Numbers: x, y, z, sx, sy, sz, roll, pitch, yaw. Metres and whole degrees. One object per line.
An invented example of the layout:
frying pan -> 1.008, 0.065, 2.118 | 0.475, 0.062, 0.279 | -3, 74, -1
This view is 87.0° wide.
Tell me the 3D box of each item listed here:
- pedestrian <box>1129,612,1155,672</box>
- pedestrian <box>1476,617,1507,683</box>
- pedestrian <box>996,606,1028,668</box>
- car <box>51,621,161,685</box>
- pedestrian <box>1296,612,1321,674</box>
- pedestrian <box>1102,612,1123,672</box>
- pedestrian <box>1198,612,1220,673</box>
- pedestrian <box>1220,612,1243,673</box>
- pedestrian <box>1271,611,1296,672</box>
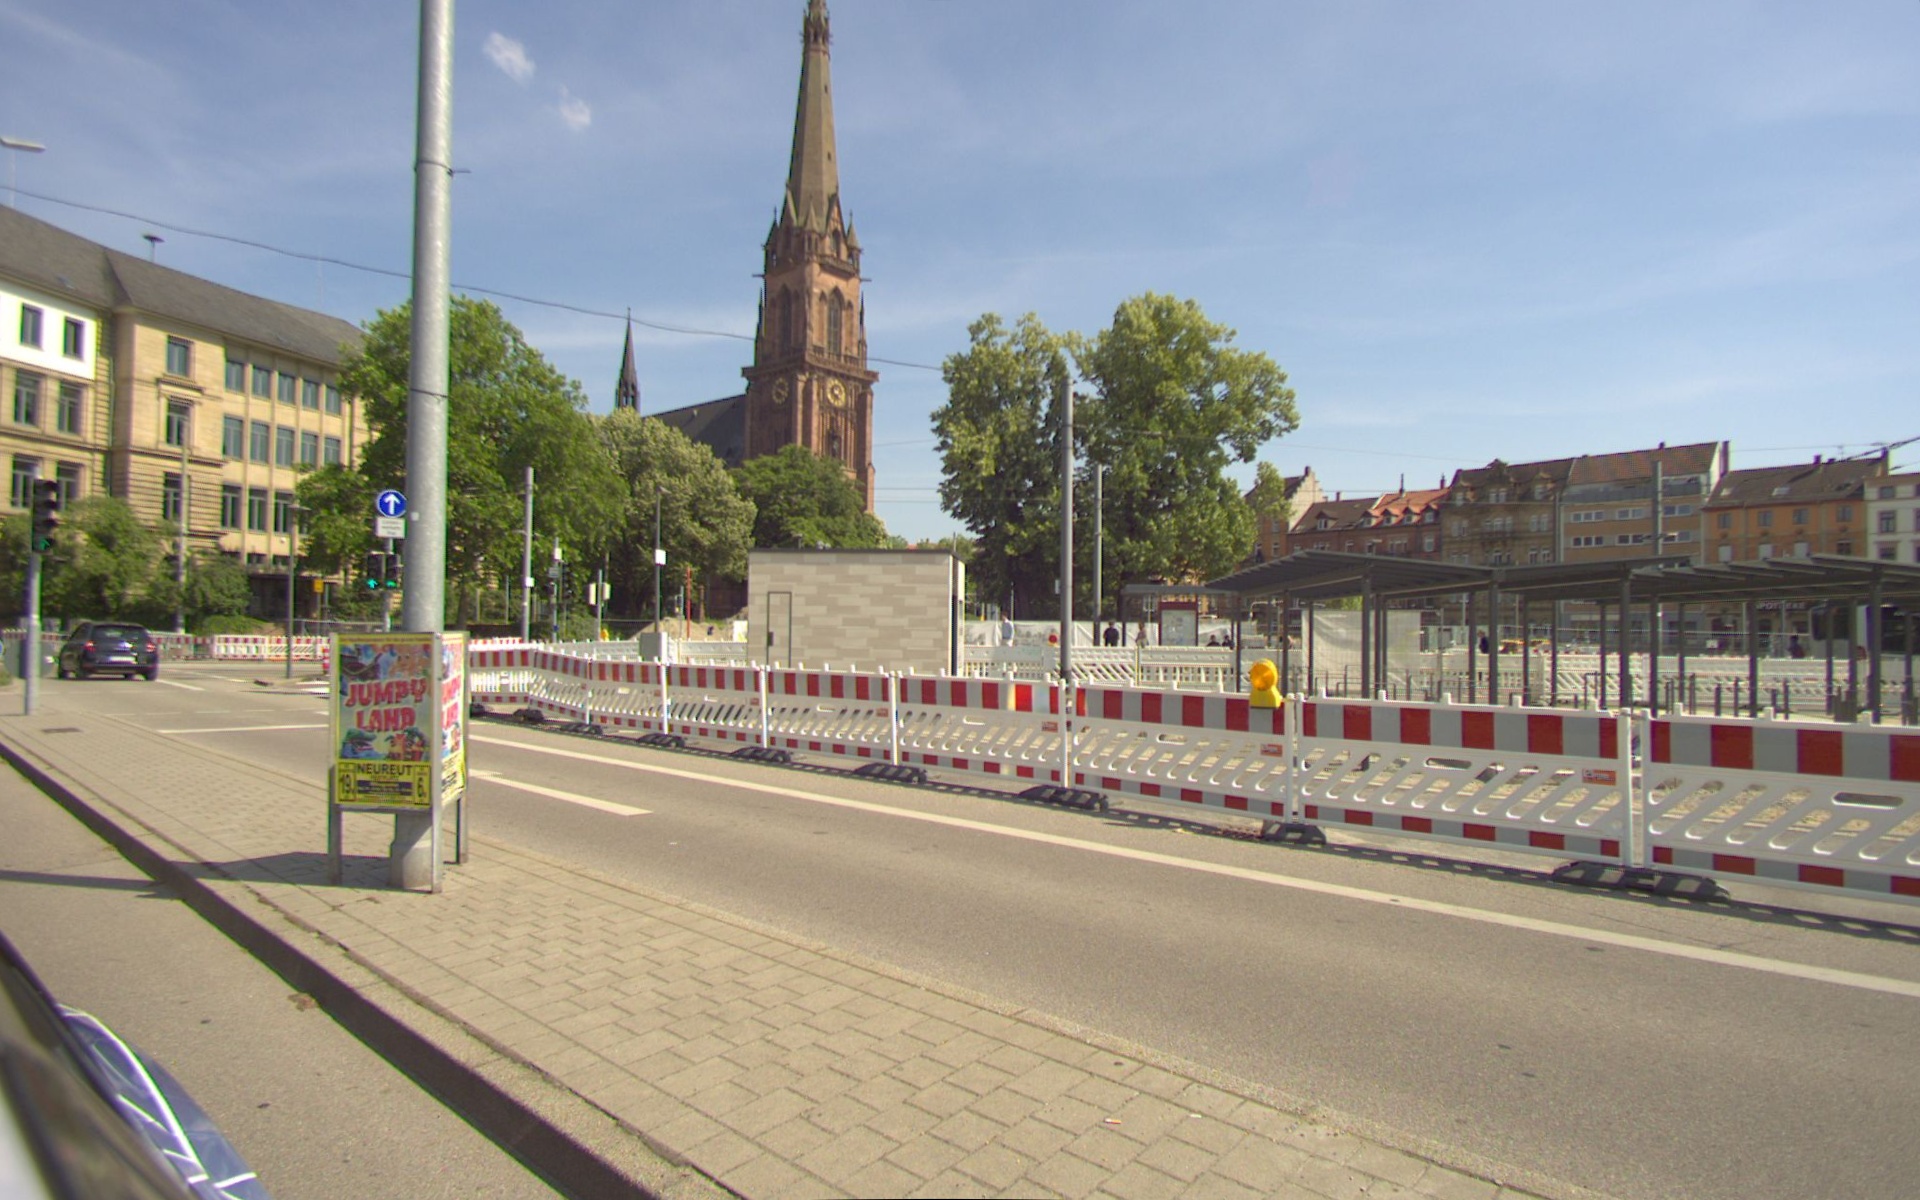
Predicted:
pedestrian -> 6.223, 1.440, 34.603 | 0.810, 2.029, 0.685 | 1, -2, 6
pedestrian -> 16.538, 1.553, 31.533 | 0.680, 2.029, 0.816 | 0, -2, 16
pedestrian -> 1.716, 1.232, 33.488 | 0.686, 2.029, 0.809 | -1, -3, 43
car -> -22.897, 1.383, 27.105 | 3.630, 1.586, 1.644 | -1, -3, 41
pedestrian -> 11.728, 1.443, 34.071 | 0.679, 2.029, 0.818 | 0, -2, 11
pedestrian -> 5.247, 1.428, 34.813 | 0.678, 2.029, 0.819 | 0, -2, 7
pedestrian -> 8.360, 1.419, 33.979 | 0.679, 2.029, 0.818 | 0, -2, 11
pedestrian -> 9.094, 1.425, 33.949 | 0.679, 2.029, 0.818 | 0, -2, 11
pedestrian -> 10.976, 1.401, 34.344 | 0.679, 2.029, 0.818 | 0, -2, 11
